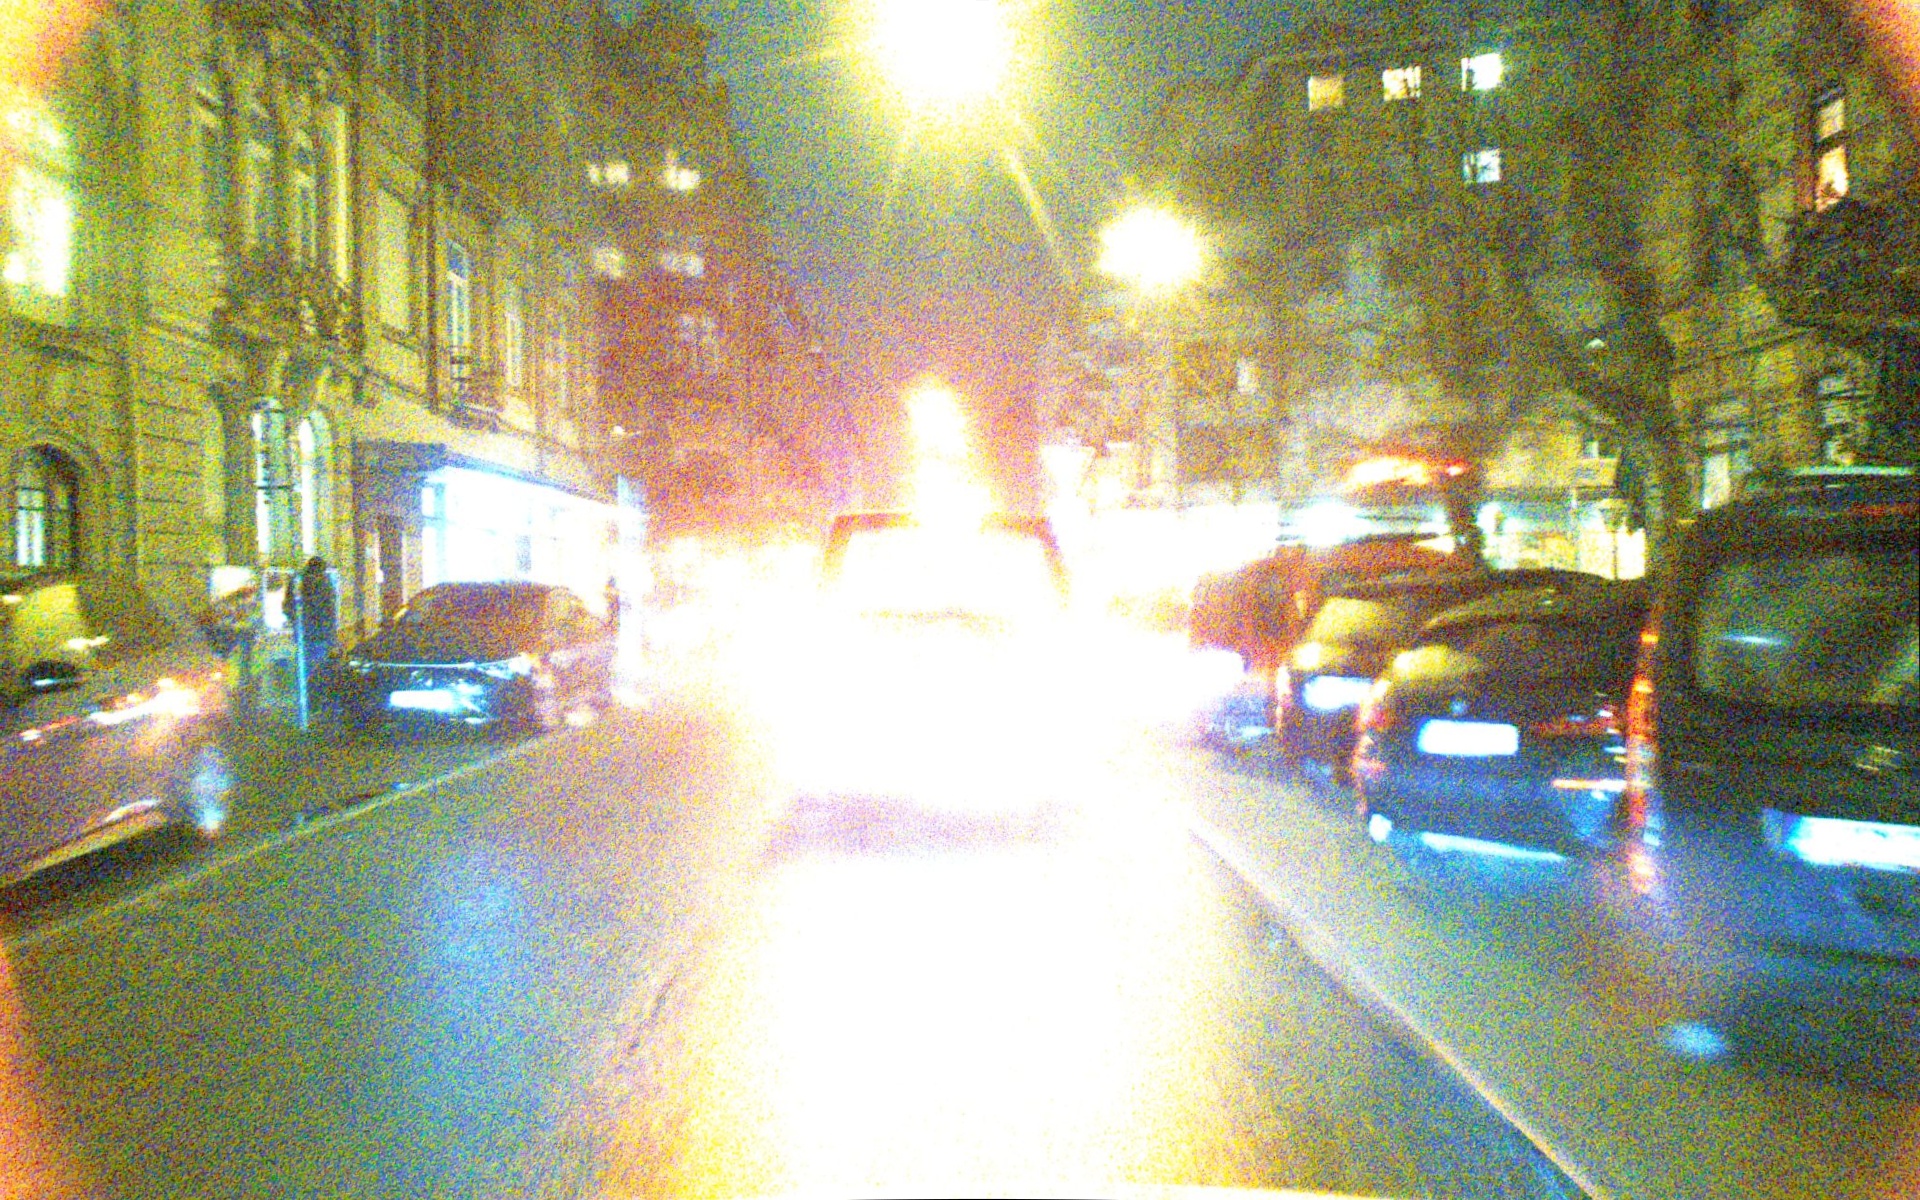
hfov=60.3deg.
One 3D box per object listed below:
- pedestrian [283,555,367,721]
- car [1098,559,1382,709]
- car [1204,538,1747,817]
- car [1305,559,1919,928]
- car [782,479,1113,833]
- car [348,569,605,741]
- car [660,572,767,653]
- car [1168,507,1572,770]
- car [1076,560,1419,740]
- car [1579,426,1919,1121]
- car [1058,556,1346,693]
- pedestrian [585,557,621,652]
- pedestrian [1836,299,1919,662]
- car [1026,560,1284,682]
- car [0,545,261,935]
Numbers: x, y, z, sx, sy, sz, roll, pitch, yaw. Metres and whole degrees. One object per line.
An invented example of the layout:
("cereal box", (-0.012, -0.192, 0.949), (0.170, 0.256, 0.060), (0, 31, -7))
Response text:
("pedestrian", (-6.736, 0.396, 17.569), (0.687, 1.734, 0.539), (0, 0, -1))
("car", (3.618, 0.391, 21.171), (3.533, 1.764, 1.667), (0, 0, -38))
("car", (3.885, 0.449, 12.220), (3.959, 1.615, 1.856), (-4, 1, -37))
("car", (3.660, 0.597, 8.750), (3.527, 1.478, 1.651), (-3, 1, -37))
("car", (-0.107, 0.335, 11.761), (1.953, 2.086, 3.999), (0, 0, -1))
("car", (-4.897, 0.490, 17.318), (1.777, 1.584, 4.073), (0, 0, -5))
("car", (-5.453, 0.252, 37.003), (1.845, 1.714, 3.999), (0, 0, -1))
("car", (3.680, 0.255, 14.614), (3.529, 2.025, 1.584), (-3, 0, -38))
("car", (3.083, 0.467, 17.475), (3.529, 1.618, 1.584), (-3, 1, -38))
("car", (3.955, 0.396, 5.690), (3.712, 1.872, 1.703), (-3, 0, -38))
("car", (3.472, 0.307, 23.481), (3.959, 1.792, 1.855), (0, 0, -38))
("pedestrian", (-7.352, 0.091, 34.060), (0.648, 1.937, 0.538), (0, 0, -5))
("pedestrian", (9.552, -1.187, 16.798), (0.873, 3.589, 0.791), (0, 0, -1))
("car", (3.138, 0.292, 26.311), (3.959, 1.792, 1.855), (0, 0, -38))
("car", (-4.781, 0.557, 7.665), (1.623, 1.584, 4.073), (0, 0, -5))
